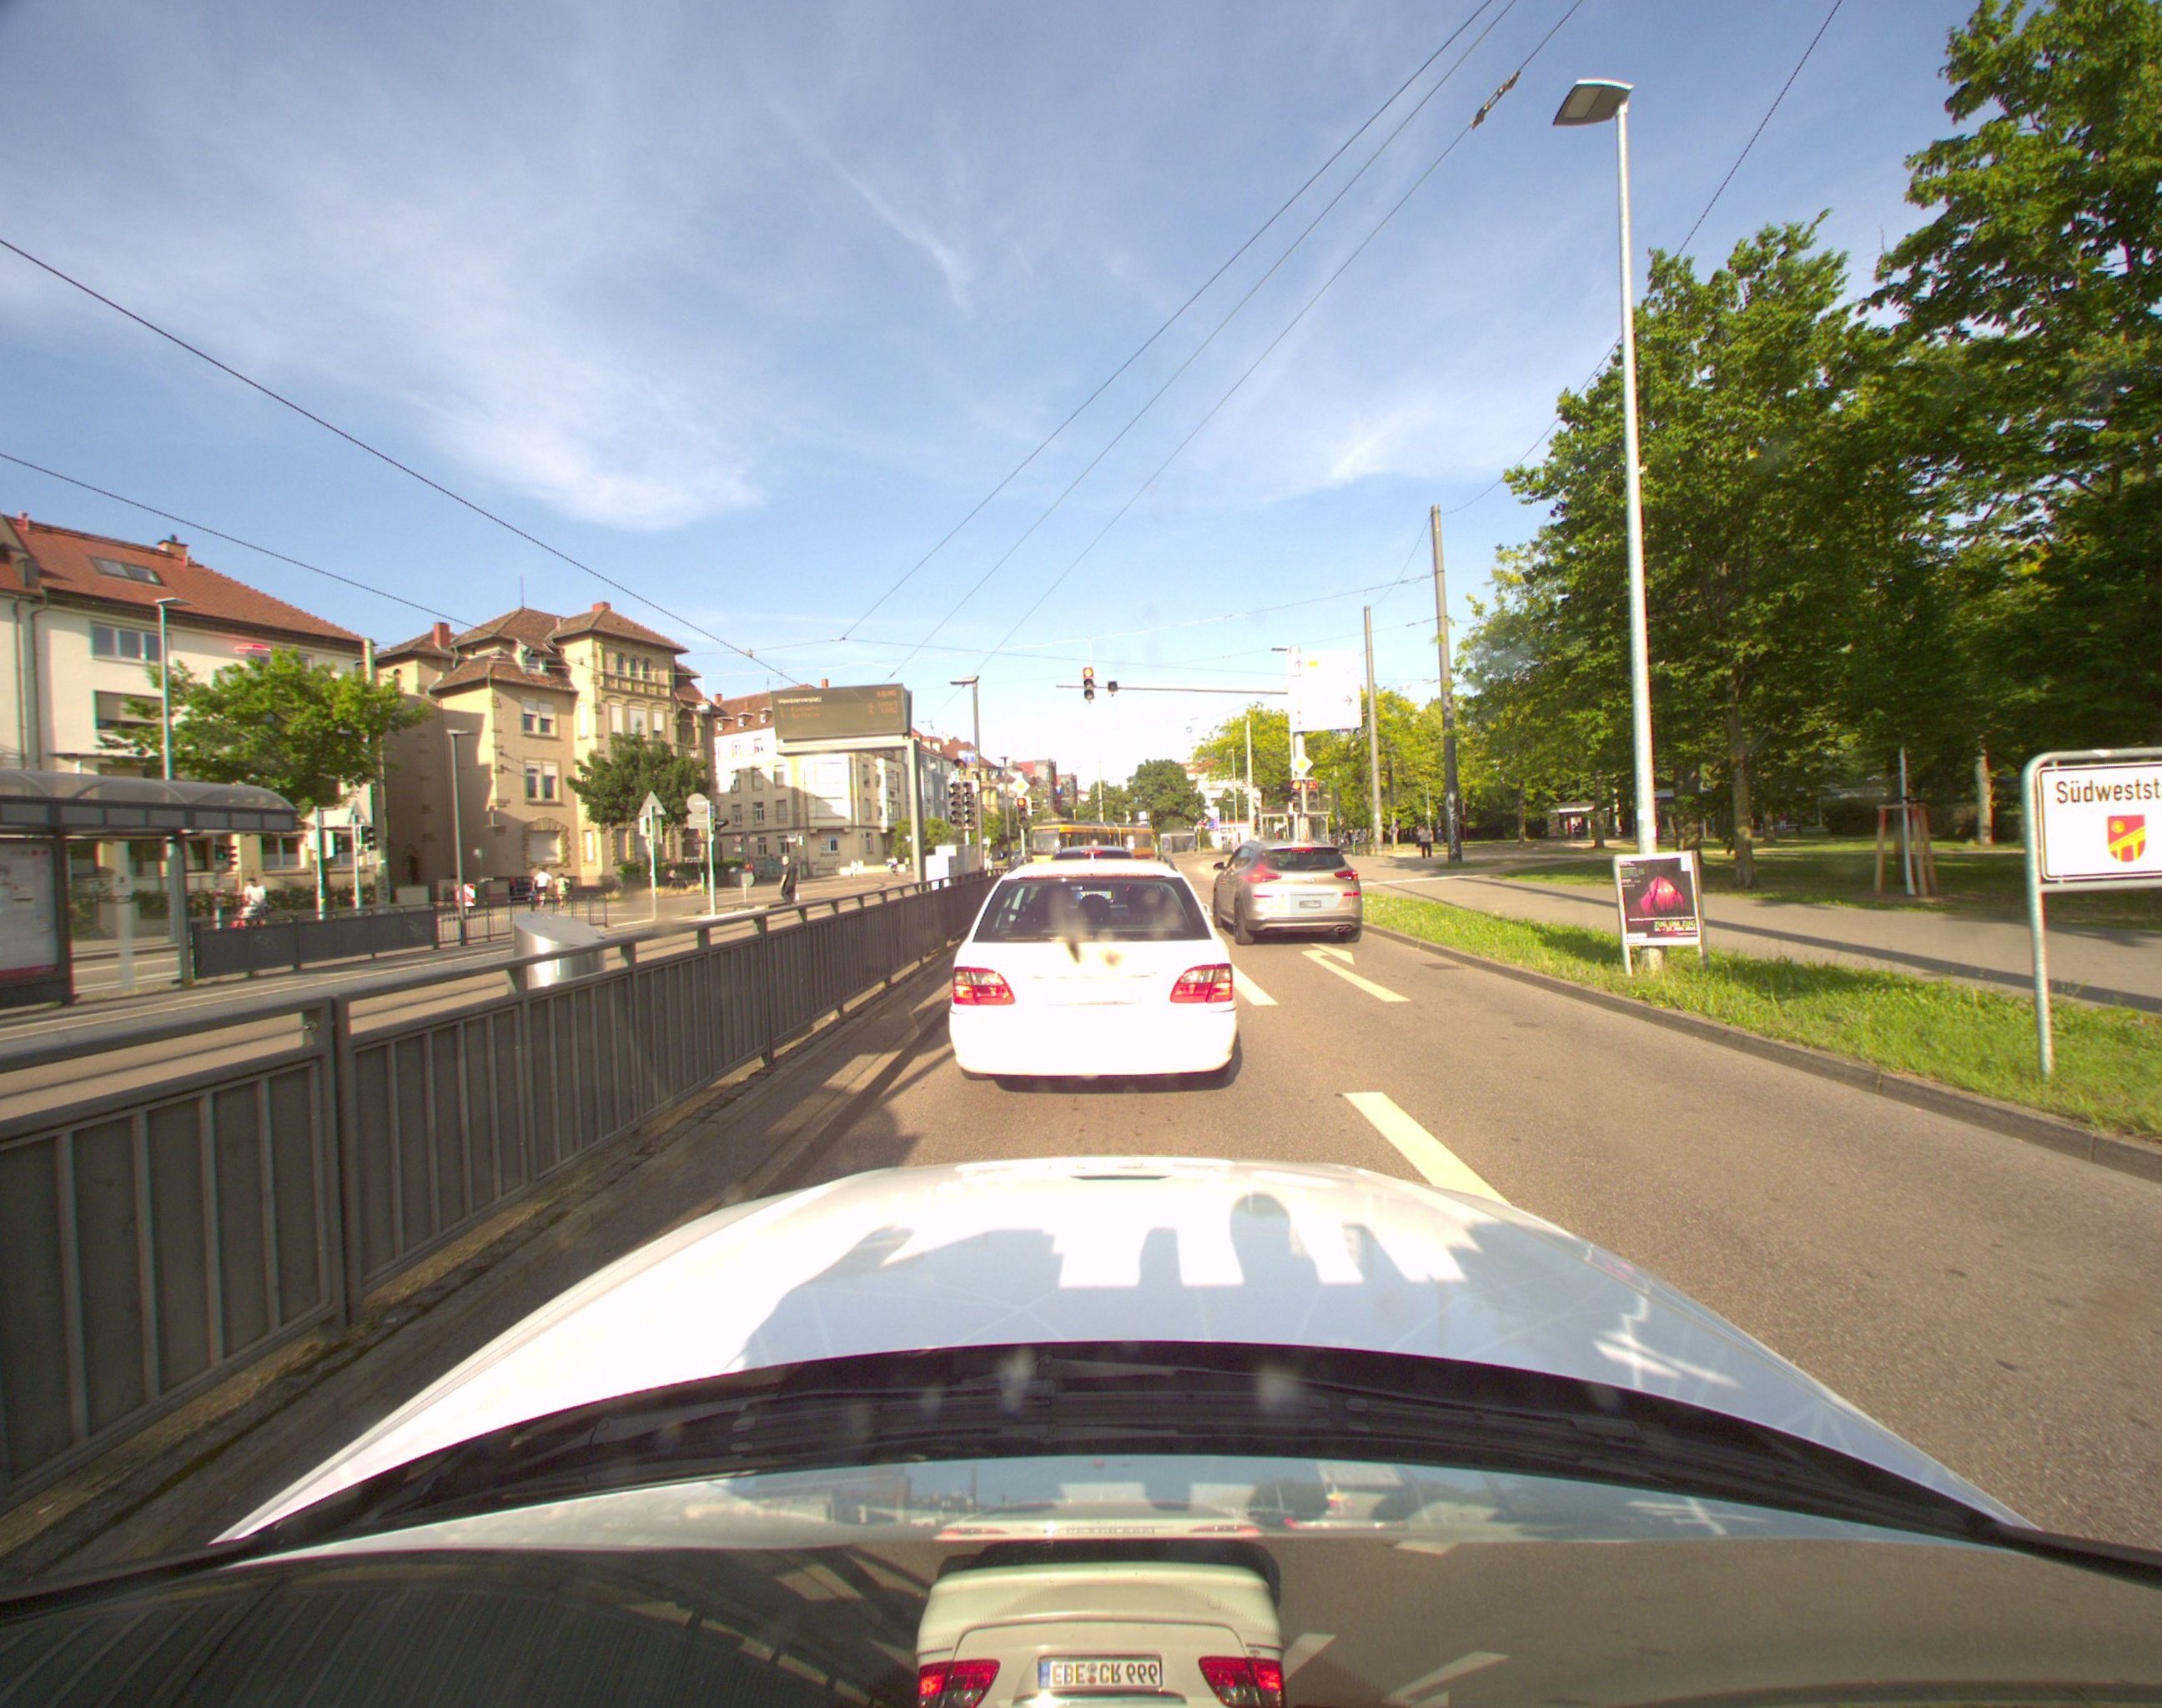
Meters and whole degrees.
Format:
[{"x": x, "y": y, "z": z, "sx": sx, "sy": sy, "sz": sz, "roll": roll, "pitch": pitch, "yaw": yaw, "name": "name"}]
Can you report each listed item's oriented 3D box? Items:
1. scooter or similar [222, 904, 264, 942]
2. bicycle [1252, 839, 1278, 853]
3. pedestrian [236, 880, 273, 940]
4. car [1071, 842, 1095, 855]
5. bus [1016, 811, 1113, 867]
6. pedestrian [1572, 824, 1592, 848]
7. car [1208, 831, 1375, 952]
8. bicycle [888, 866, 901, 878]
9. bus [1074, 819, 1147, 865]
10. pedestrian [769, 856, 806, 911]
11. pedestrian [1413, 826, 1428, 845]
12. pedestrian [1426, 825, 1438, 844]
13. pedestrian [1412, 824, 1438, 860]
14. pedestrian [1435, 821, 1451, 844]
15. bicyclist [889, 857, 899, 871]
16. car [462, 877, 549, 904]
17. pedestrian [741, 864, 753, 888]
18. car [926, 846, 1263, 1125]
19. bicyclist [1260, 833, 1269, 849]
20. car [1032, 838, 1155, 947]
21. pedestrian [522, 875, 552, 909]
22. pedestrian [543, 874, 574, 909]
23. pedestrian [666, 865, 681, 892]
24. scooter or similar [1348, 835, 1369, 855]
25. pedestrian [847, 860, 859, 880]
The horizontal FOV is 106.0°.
[{"x": -24.458, "y": 2.004, "z": 23.773, "sx": 0.560, "sy": 0.988, "sz": 1.013, "roll": -3, "pitch": 0, "yaw": -30, "name": "scooter or similar"}, {"x": 18.651, "y": -0.808, "z": 82.555, "sx": 2.468, "sy": 1.213, "sz": 0.809, "roll": -3, "pitch": 0, "yaw": 9, "name": "bicycle"}, {"x": -24.906, "y": 1.662, "z": 24.556, "sx": 0.550, "sy": 1.746, "sz": 0.756, "roll": -3, "pitch": 0, "yaw": -30, "name": "pedestrian"}, {"x": 0.329, "y": -0.940, "z": 136.324, "sx": 3.973, "sy": 2.014, "sz": 2.000, "roll": -1, "pitch": 0, "yaw": 0, "name": "car"}, {"x": -0.862, "y": -0.950, "z": 58.347, "sx": 3.084, "sy": 3.606, "sz": 12.430, "roll": -1, "pitch": 0, "yaw": 17, "name": "bus"}, {"x": 35.299, "y": -1.264, "z": 57.386, "sx": 0.831, "sy": 1.636, "sz": 0.804, "roll": -3, "pitch": 0, "yaw": 7, "name": "pedestrian"}, {"x": 3.322, "y": 0.532, "z": 13.581, "sx": 1.878, "sy": 1.651, "sz": 3.649, "roll": -3, "pitch": 0, "yaw": 2, "name": "car"}, {"x": -14.747, "y": 1.406, "z": 64.410, "sx": 0.524, "sy": 0.834, "sz": 1.687, "roll": -3, "pitch": 0, "yaw": 2, "name": "bicycle"}, {"x": 2.839, "y": -0.939, "z": 70.349, "sx": 3.084, "sy": 3.606, "sz": 12.647, "roll": -1, "pitch": 0, "yaw": 17, "name": "bus"}, {"x": -9.215, "y": 0.912, "z": 25.596, "sx": 0.798, "sy": 1.645, "sz": 0.748, "roll": -3, "pitch": 0, "yaw": -43, "name": "pedestrian"}, {"x": 27.020, "y": -1.472, "z": 64.835, "sx": 0.820, "sy": 1.487, "sz": 0.692, "roll": -3, "pitch": 0, "yaw": -40, "name": "pedestrian"}, {"x": 27.537, "y": -1.532, "z": 63.921, "sx": 0.805, "sy": 1.487, "sz": 0.705, "roll": -3, "pitch": 0, "yaw": 26, "name": "pedestrian"}, {"x": 16.347, "y": -0.581, "z": 38.728, "sx": 0.758, "sy": 1.636, "sz": 0.800, "roll": -3, "pitch": 0, "yaw": -38, "name": "pedestrian"}, {"x": 28.883, "y": -1.712, "z": 65.052, "sx": 0.798, "sy": 1.785, "sz": 0.838, "roll": -3, "pitch": 0, "yaw": -3, "name": "pedestrian"}, {"x": -14.774, "y": 0.798, "z": 64.358, "sx": 0.511, "sy": 1.044, "sz": 0.680, "roll": -3, "pitch": 0, "yaw": 1, "name": "bicyclist"}, {"x": -29.588, "y": 1.851, "z": 41.867, "sx": 4.066, "sy": 1.310, "sz": 1.774, "roll": -1, "pitch": 0, "yaw": 23, "name": "car"}, {"x": -21.015, "y": 1.392, "z": 51.273, "sx": 0.530, "sy": 1.500, "sz": 0.391, "roll": -3, "pitch": 0, "yaw": 16, "name": "pedestrian"}, {"x": 0.124, "y": 0.702, "z": 6.227, "sx": 1.789, "sy": 1.470, "sz": 3.649, "roll": -1, "pitch": 0, "yaw": 1, "name": "car"}, {"x": 18.612, "y": -1.320, "z": 82.549, "sx": 0.855, "sy": 1.481, "sz": 0.792, "roll": -3, "pitch": 0, "yaw": 11, "name": "bicyclist"}, {"x": 0.245, "y": 0.584, "z": 14.379, "sx": 1.878, "sy": 1.651, "sz": 3.649, "roll": -1, "pitch": 0, "yaw": 2, "name": "car"}, {"x": -25.371, "y": 1.768, "z": 37.974, "sx": 0.822, "sy": 1.552, "sz": 0.786, "roll": -3, "pitch": 0, "yaw": 23, "name": "pedestrian"}, {"x": -24.381, "y": 1.732, "z": 38.004, "sx": 0.822, "sy": 1.552, "sz": 0.786, "roll": -3, "pitch": 0, "yaw": 23, "name": "pedestrian"}, {"x": -23.289, "y": 1.392, "z": 46.528, "sx": 0.434, "sy": 1.500, "sz": 0.551, "roll": -3, "pitch": 0, "yaw": 16, "name": "pedestrian"}, {"x": 15.962, "y": -0.502, "z": 46.836, "sx": 0.421, "sy": 1.117, "sz": 1.322, "roll": -3, "pitch": 0, "yaw": -18, "name": "scooter or similar"}, {"x": -18.314, "y": 1.250, "z": 65.421, "sx": 0.627, "sy": 1.541, "sz": 0.711, "roll": -3, "pitch": 0, "yaw": 1, "name": "pedestrian"}]
